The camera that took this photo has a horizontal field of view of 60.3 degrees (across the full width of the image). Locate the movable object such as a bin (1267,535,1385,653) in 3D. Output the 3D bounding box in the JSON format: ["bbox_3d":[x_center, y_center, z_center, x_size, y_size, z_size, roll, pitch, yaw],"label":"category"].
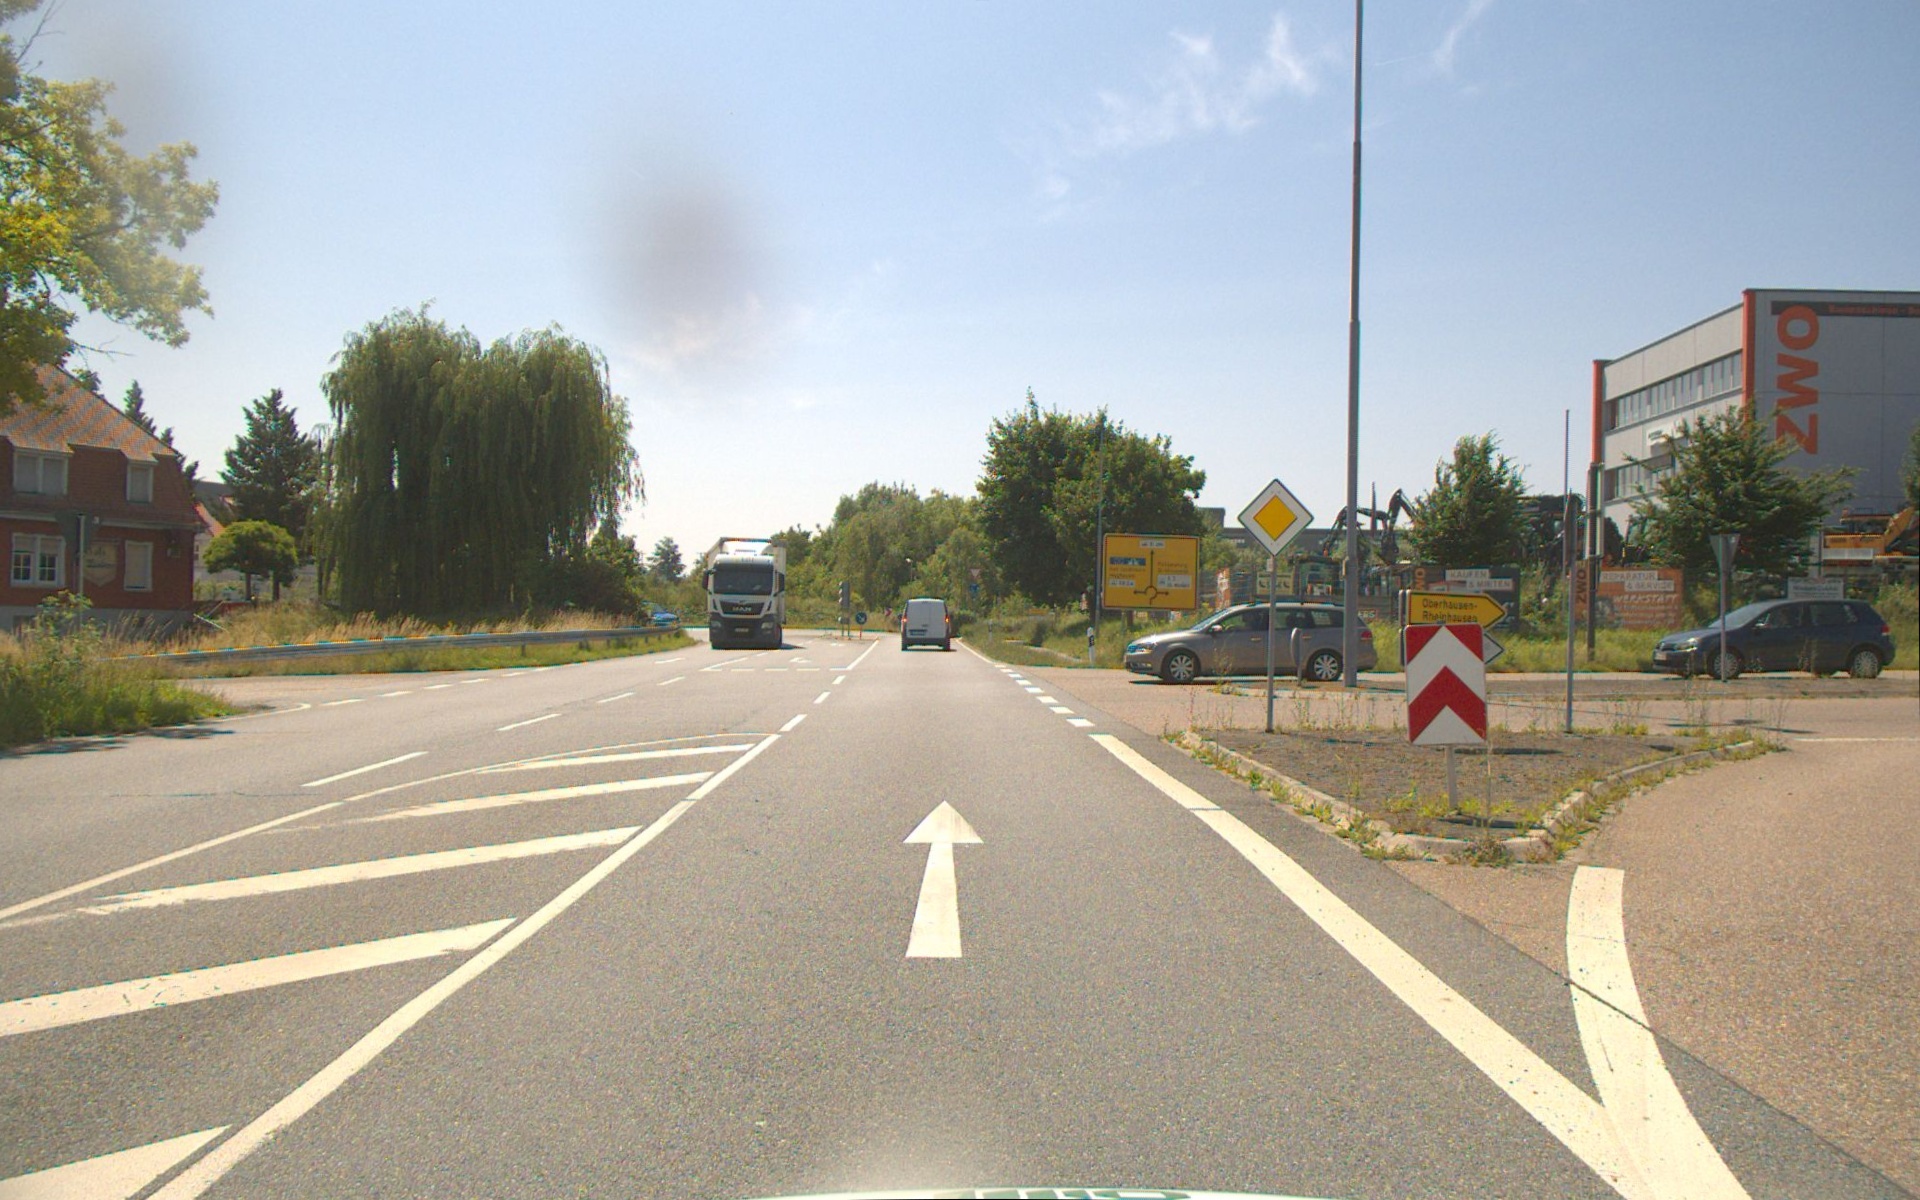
[{"bbox_3d":[11.107,-0.101,50.542,2.276,3.307,5.099,2,-2,-1],"label":"movable object such as a bin"}]

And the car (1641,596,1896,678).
[{"bbox_3d":[14.909,0.661,30.638,3.916,1.466,1.635,0,0,1],"label":"car"}]

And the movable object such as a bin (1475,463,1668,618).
[{"bbox_3d":[22.226,-2.114,60.356,5.796,5.194,3.109,2,-2,1],"label":"movable object such as a bin"}]

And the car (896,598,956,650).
[{"bbox_3d":[-1.245,0.853,58.922,1.867,1.763,3.818,1,-1,-5],"label":"car"}]

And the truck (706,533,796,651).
[{"bbox_3d":[-7.869,-0.298,63.018,2.734,4.127,6.749,3,0,-3],"label":"truck"}]

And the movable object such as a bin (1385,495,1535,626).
[{"bbox_3d":[22.049,-1.701,73.205,5.598,5.362,3.221,2,-2,1],"label":"movable object such as a bin"}]

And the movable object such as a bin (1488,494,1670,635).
[{"bbox_3d":[20.637,-1.143,55.333,4.980,4.350,2.834,2,-2,1],"label":"movable object such as a bin"}]

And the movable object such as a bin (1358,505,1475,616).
[{"bbox_3d":[22.666,-1.904,82.244,4.980,5.143,2.778,2,-2,1],"label":"movable object such as a bin"}]

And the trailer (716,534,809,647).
[{"bbox_3d":[-8.068,-0.374,69.171,2.734,4.127,13.494,3,0,-3],"label":"trailer"}]

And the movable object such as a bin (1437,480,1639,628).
[{"bbox_3d":[22.356,-1.718,64.249,6.455,5.238,3.806,2,-2,1],"label":"movable object such as a bin"}]

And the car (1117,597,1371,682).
[{"bbox_3d":[5.232,0.714,30.922,4.419,1.534,1.914,0,0,-1],"label":"car"}]

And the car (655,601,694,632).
[{"bbox_3d":[-15.034,0.863,87.081,1.815,1.595,3.987,-1,0,-13],"label":"car"}]
